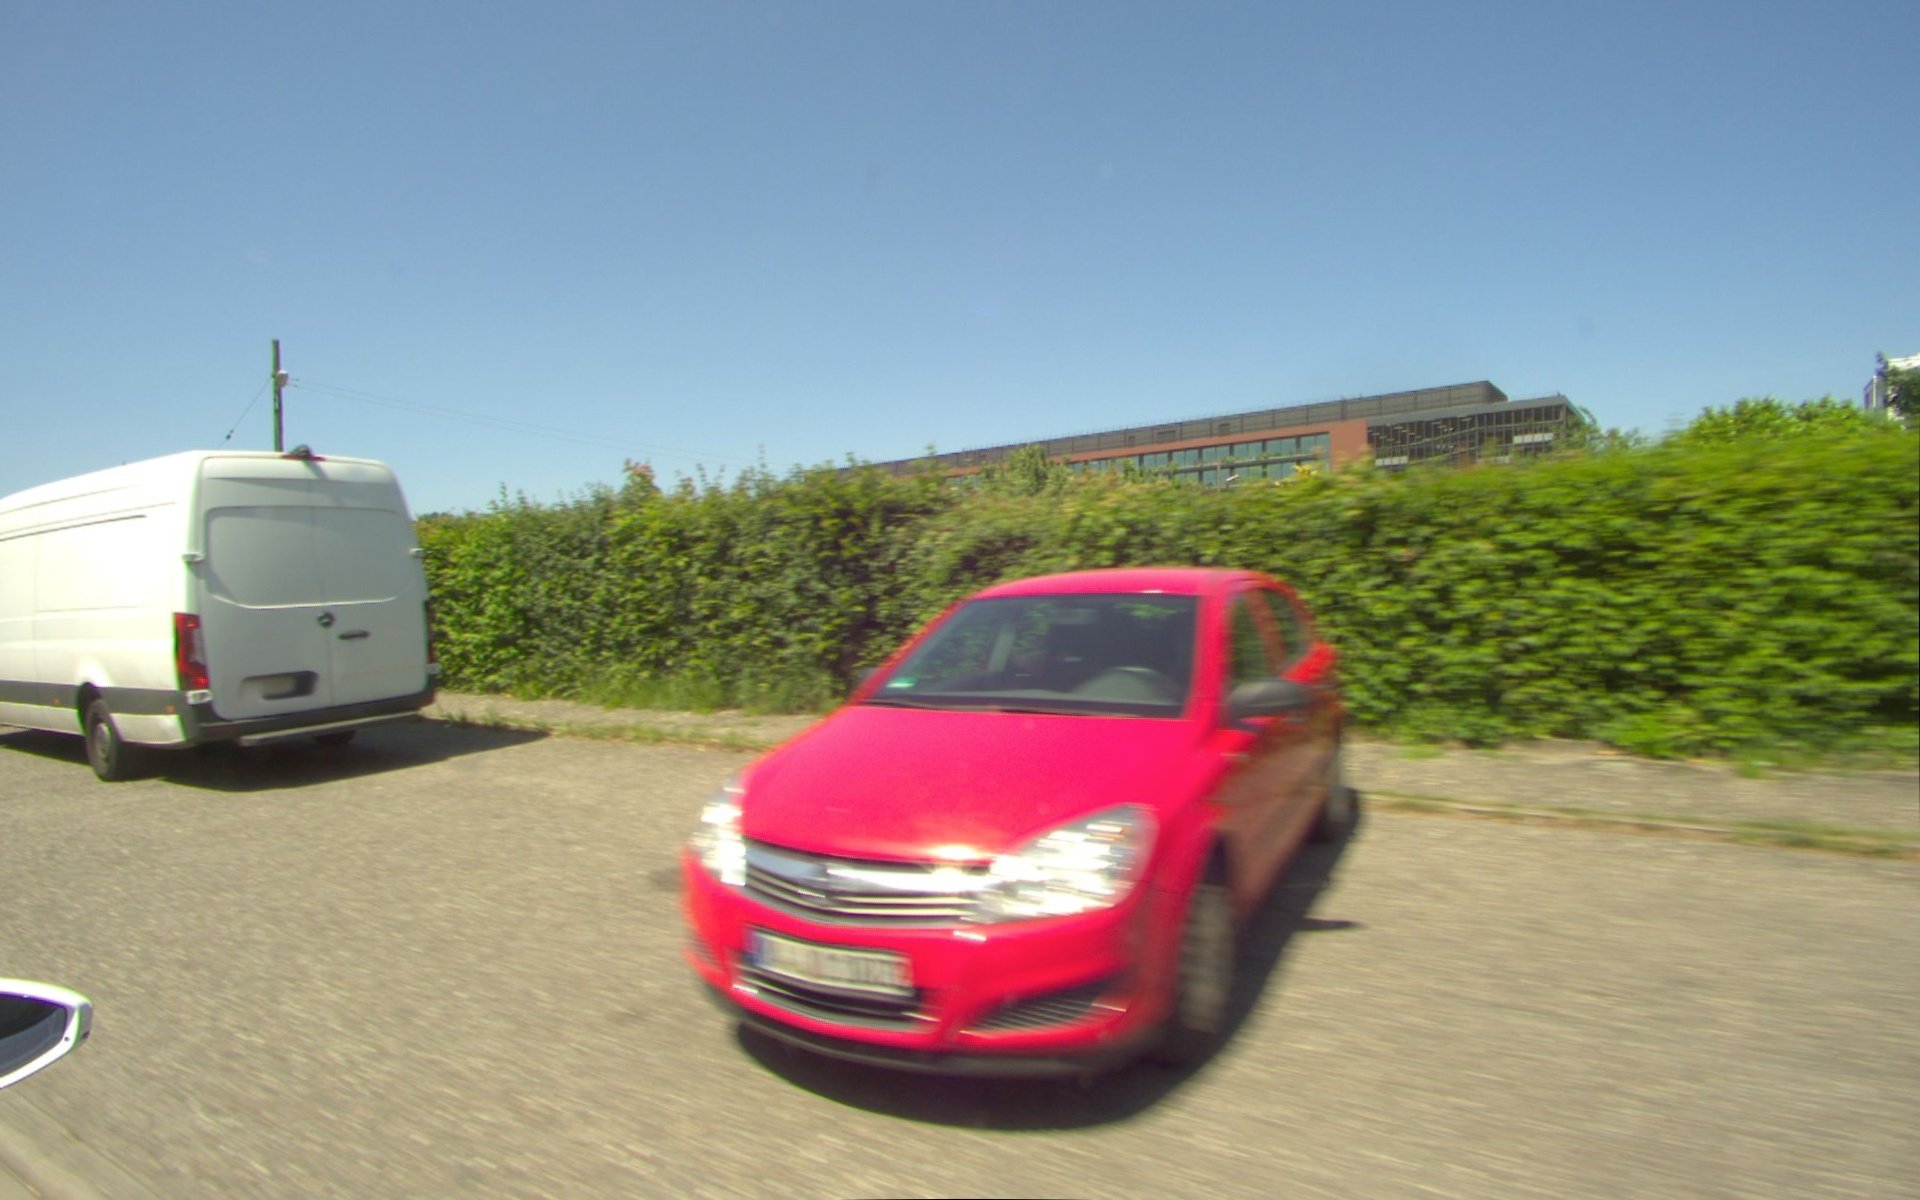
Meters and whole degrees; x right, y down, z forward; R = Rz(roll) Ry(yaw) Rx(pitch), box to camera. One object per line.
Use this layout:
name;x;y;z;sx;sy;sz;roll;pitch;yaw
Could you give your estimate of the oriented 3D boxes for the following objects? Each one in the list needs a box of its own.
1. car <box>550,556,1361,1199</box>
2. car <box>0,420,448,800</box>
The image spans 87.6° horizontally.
car;0.532;0.590;4.418;1.808;1.454;4.046;-1;3;29
car;-8.119;0.070;10.051;7.066;2.771;1.948;-1;3;33
